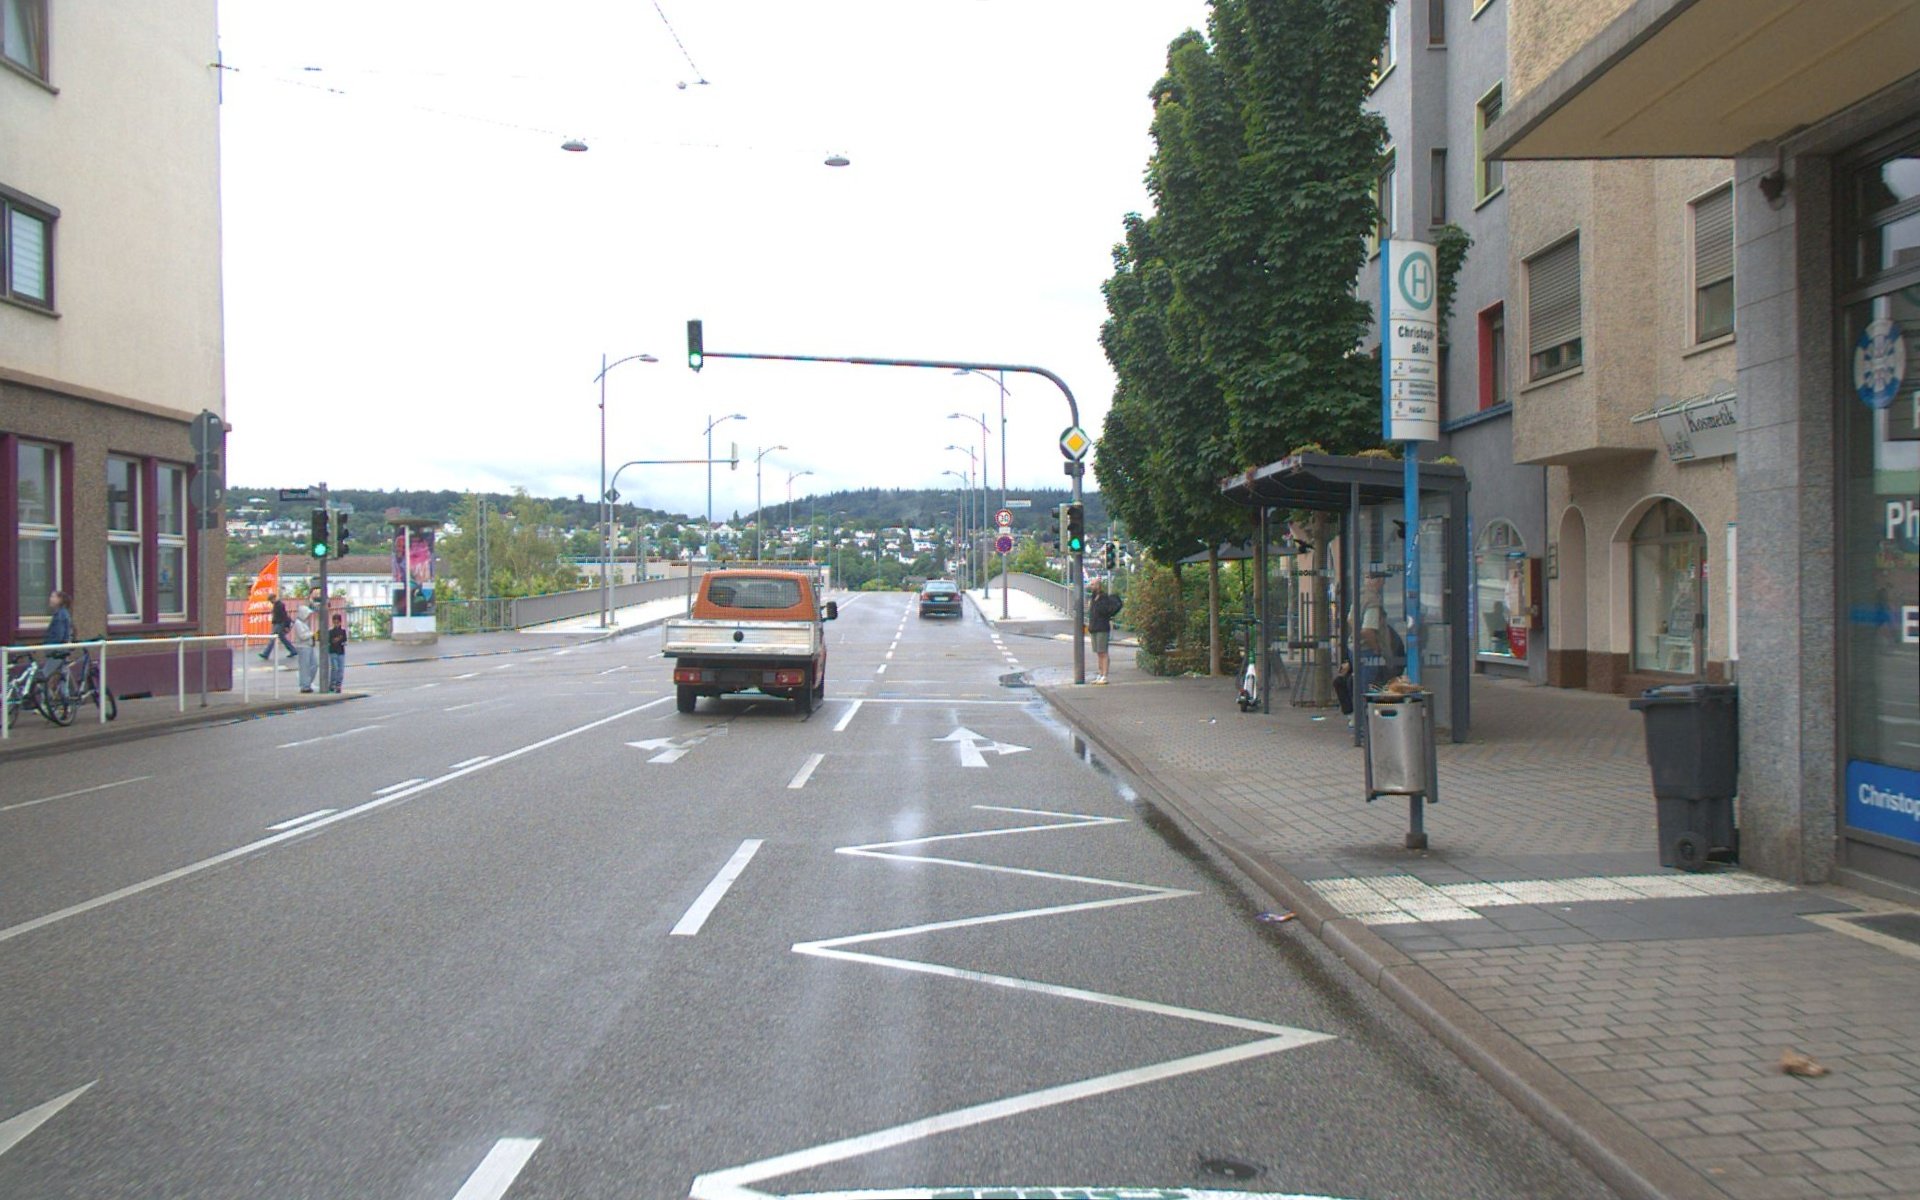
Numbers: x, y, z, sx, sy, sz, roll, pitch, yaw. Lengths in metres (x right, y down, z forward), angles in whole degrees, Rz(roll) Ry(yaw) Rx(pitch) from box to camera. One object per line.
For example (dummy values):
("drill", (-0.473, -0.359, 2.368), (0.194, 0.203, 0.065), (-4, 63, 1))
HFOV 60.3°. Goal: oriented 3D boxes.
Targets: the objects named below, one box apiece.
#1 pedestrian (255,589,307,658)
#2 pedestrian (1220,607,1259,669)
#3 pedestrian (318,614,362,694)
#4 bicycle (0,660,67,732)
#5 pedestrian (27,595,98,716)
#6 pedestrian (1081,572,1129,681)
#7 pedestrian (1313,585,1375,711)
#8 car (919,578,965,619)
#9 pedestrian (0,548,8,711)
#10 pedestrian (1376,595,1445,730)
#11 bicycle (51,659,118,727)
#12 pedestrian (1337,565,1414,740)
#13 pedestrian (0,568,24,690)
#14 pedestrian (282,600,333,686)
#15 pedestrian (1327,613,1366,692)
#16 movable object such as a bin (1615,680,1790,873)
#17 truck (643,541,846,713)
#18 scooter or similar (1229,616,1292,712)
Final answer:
("pedestrian", (-17.912, 0.606, 43.612), (1.060, 1.788, 1.050), (0, -1, -36))
("pedestrian", (5.624, 0.761, 33.272), (0.651, 1.210, 0.556), (-1, -1, -3))
("pedestrian", (-11.161, 0.961, 29.790), (0.533, 1.412, 0.649), (-1, -1, 1))
("bicycle", (-11.319, 1.149, 20.027), (0.259, 0.797, 1.421), (-1, -1, -1))
("pedestrian", (-11.955, 0.731, 22.040), (0.563, 1.581, 0.739), (-1, -1, -4))
("pedestrian", (2.527, 0.453, 28.896), (0.718, 1.873, 0.630), (-1, -1, -3))
("pedestrian", (4.287, 0.534, 18.490), (0.523, 1.373, 0.596), (-1, -1, -2))
("car", (-0.704, -0.023, 64.002), (1.718, 1.505, 3.999), (-1, -1, -1))
("pedestrian", (-12.911, 0.388, 21.456), (0.697, 2.136, 0.729), (-1, -1, -4))
("pedestrian", (4.857, 0.665, 17.855), (0.552, 1.421, 0.513), (-1, -1, -4))
("bicycle", (-10.941, 1.150, 20.688), (0.259, 0.797, 1.111), (-1, -1, -1))
("pedestrian", (4.208, 0.530, 16.773), (0.606, 1.729, 0.656), (-1, -1, 3))
("pedestrian", (-12.992, 0.394, 21.975), (0.758, 1.605, 0.588), (-1, -1, -2))
("pedestrian", (-11.467, 0.752, 29.076), (0.629, 1.483, 0.660), (-1, -1, -3))
("pedestrian", (7.906, 1.070, 33.852), (0.630, 1.599, 0.725), (-1, -1, 2))
("movable object such as a bin", (3.917, 0.912, 8.766), (0.588, 0.942, 0.704), (-1, -1, -1))
("truck", (-2.931, 0.371, 23.784), (2.351, 2.167, 5.312), (-1, -1, -2))
("scooter or similar", (3.894, 0.806, 21.521), (0.500, 1.193, 1.549), (-1, -1, -1))
